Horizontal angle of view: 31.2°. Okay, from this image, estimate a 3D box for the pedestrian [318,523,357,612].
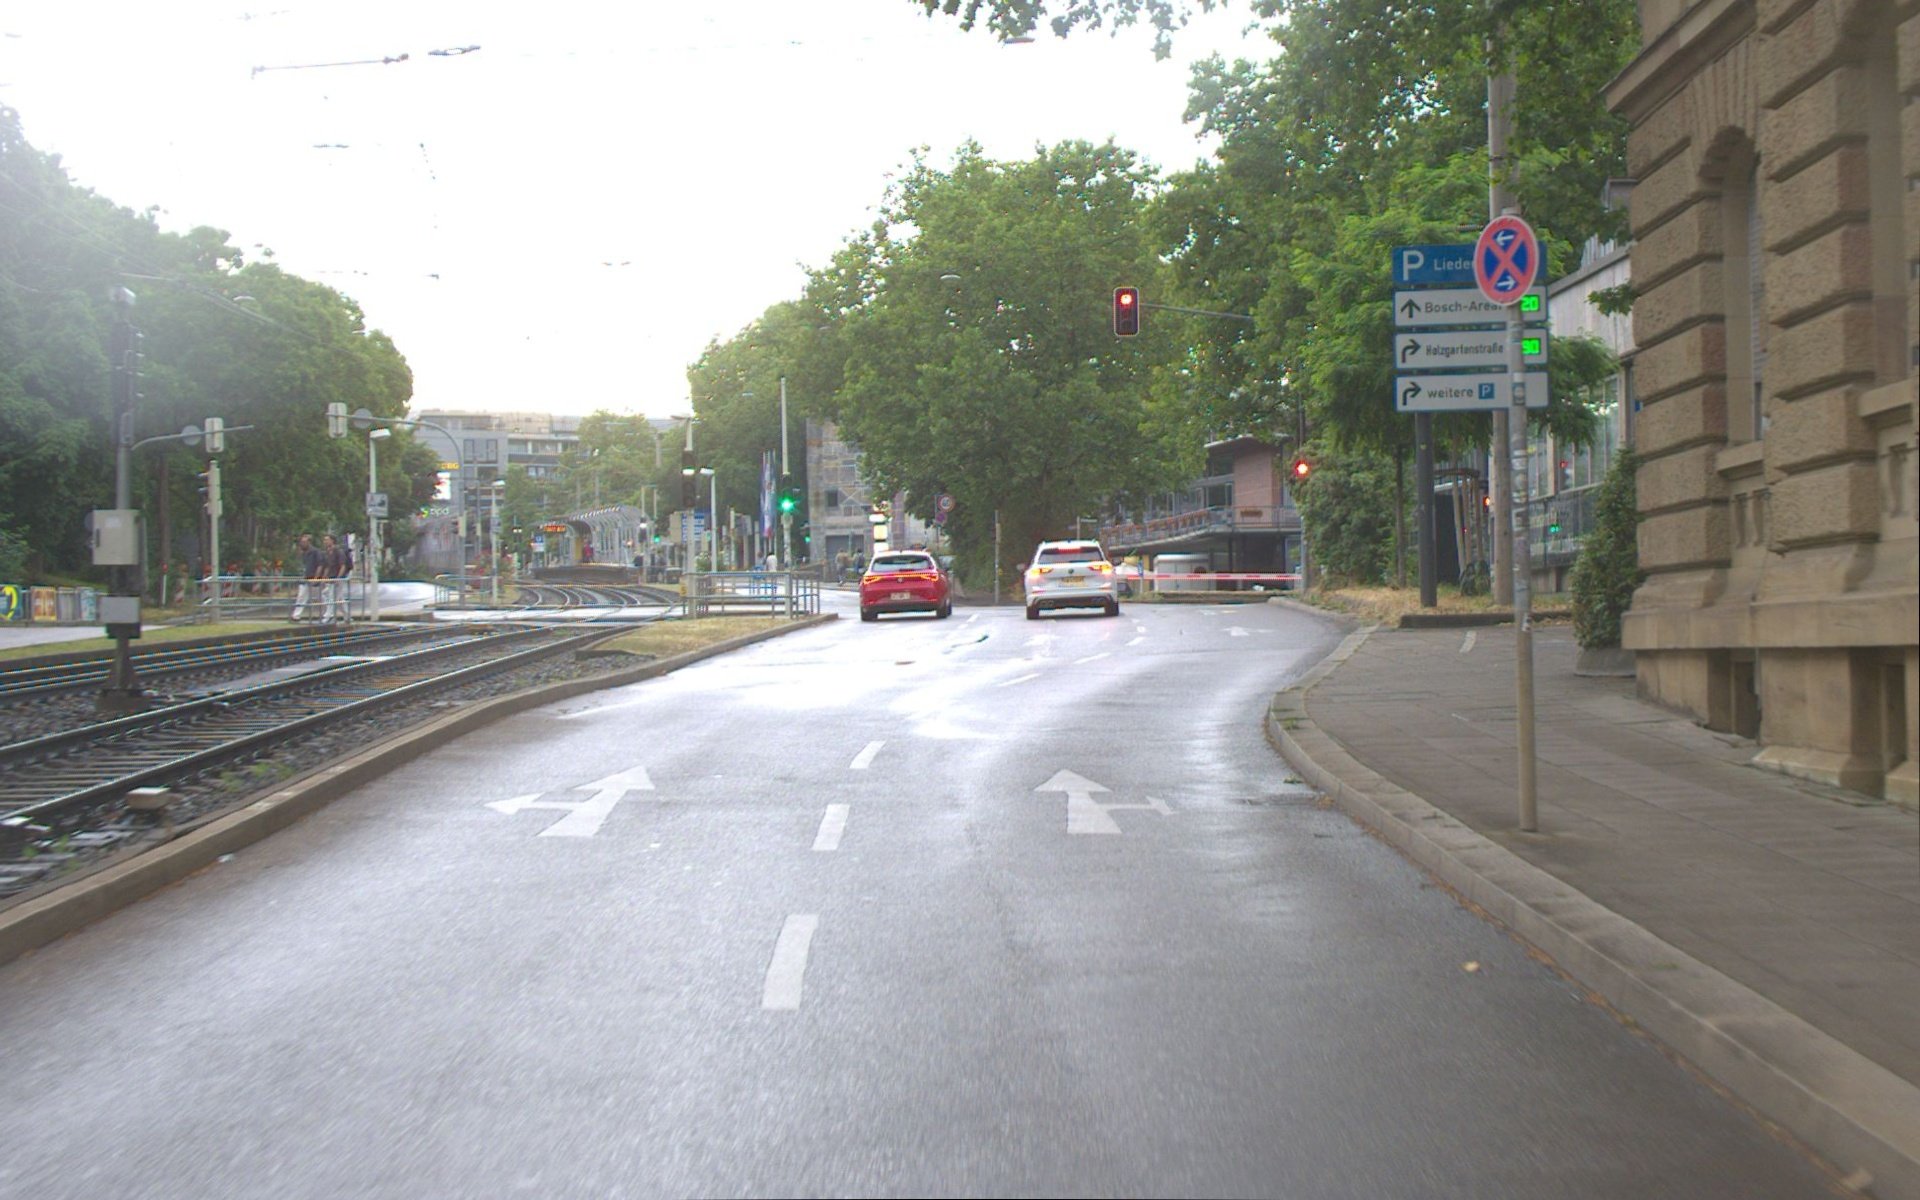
[{"bbox_3d":[-12.597,-0.658,69.564,0.639,1.781,0.811,0,0,-21],"label":"pedestrian"}]

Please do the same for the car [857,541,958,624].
[{"bbox_3d":[-1.040,-0.350,70.047,1.980,1.634,4.417,0,0,0],"label":"car"}]

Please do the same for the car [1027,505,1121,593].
[{"bbox_3d":[2.216,-1.005,66.083,1.679,1.571,4.253,-2,1,3],"label":"car"}]

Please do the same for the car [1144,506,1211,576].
[{"bbox_3d":[9.872,-2.654,156.442,2.544,3.123,5.031,0,0,-2],"label":"car"}]

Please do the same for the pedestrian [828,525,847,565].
[{"bbox_3d":[-5.698,-2.559,159.881,0.756,1.817,0.701,0,0,-10],"label":"pedestrian"}]

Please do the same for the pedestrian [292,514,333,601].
[{"bbox_3d":[-13.229,-0.861,70.206,0.639,1.781,0.811,0,0,-25],"label":"pedestrian"}]
